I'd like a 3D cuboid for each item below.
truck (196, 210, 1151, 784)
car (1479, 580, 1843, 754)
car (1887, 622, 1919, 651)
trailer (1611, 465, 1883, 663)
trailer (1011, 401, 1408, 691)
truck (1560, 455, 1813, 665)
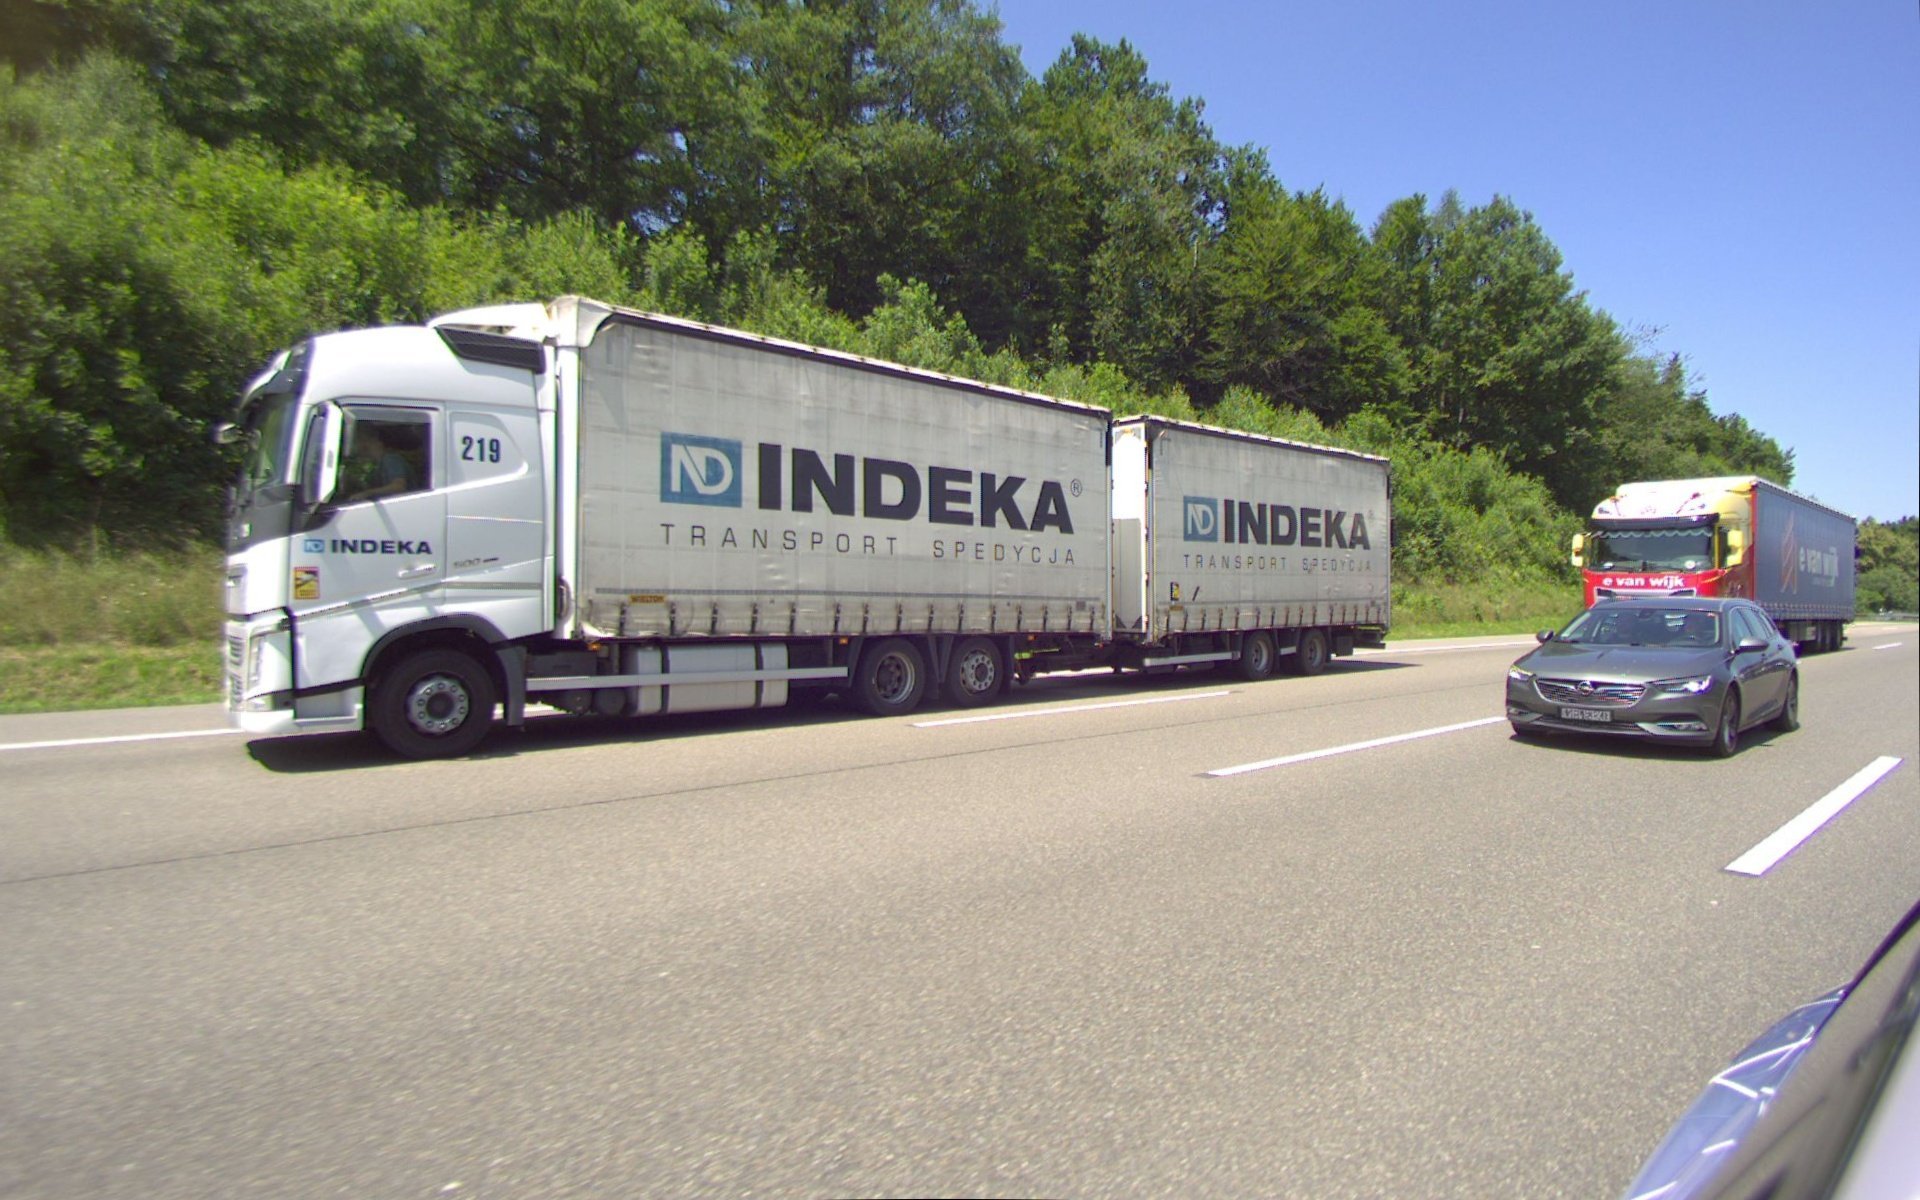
[{"bbox_3d":[-2.229,-0.809,11.991,10.777,4.213,2.727,-1,0,-41],"label":"truck"},{"bbox_3d":[7.762,0.555,10.979,5.131,1.471,1.971,0,0,-40],"label":"car"},{"bbox_3d":[55.471,2.097,58.805,4.088,1.531,1.908,0,2,-42],"label":"car"},{"bbox_3d":[21.746,-0.810,27.340,14.588,4.194,2.925,0,2,-41],"label":"trailer"},{"bbox_3d":[4.786,-0.816,18.061,8.236,4.121,2.584,-1,0,-41],"label":"trailer"},{"bbox_3d":[16.659,-0.800,22.985,7.407,4.031,3.016,0,1,-41],"label":"truck"}]
